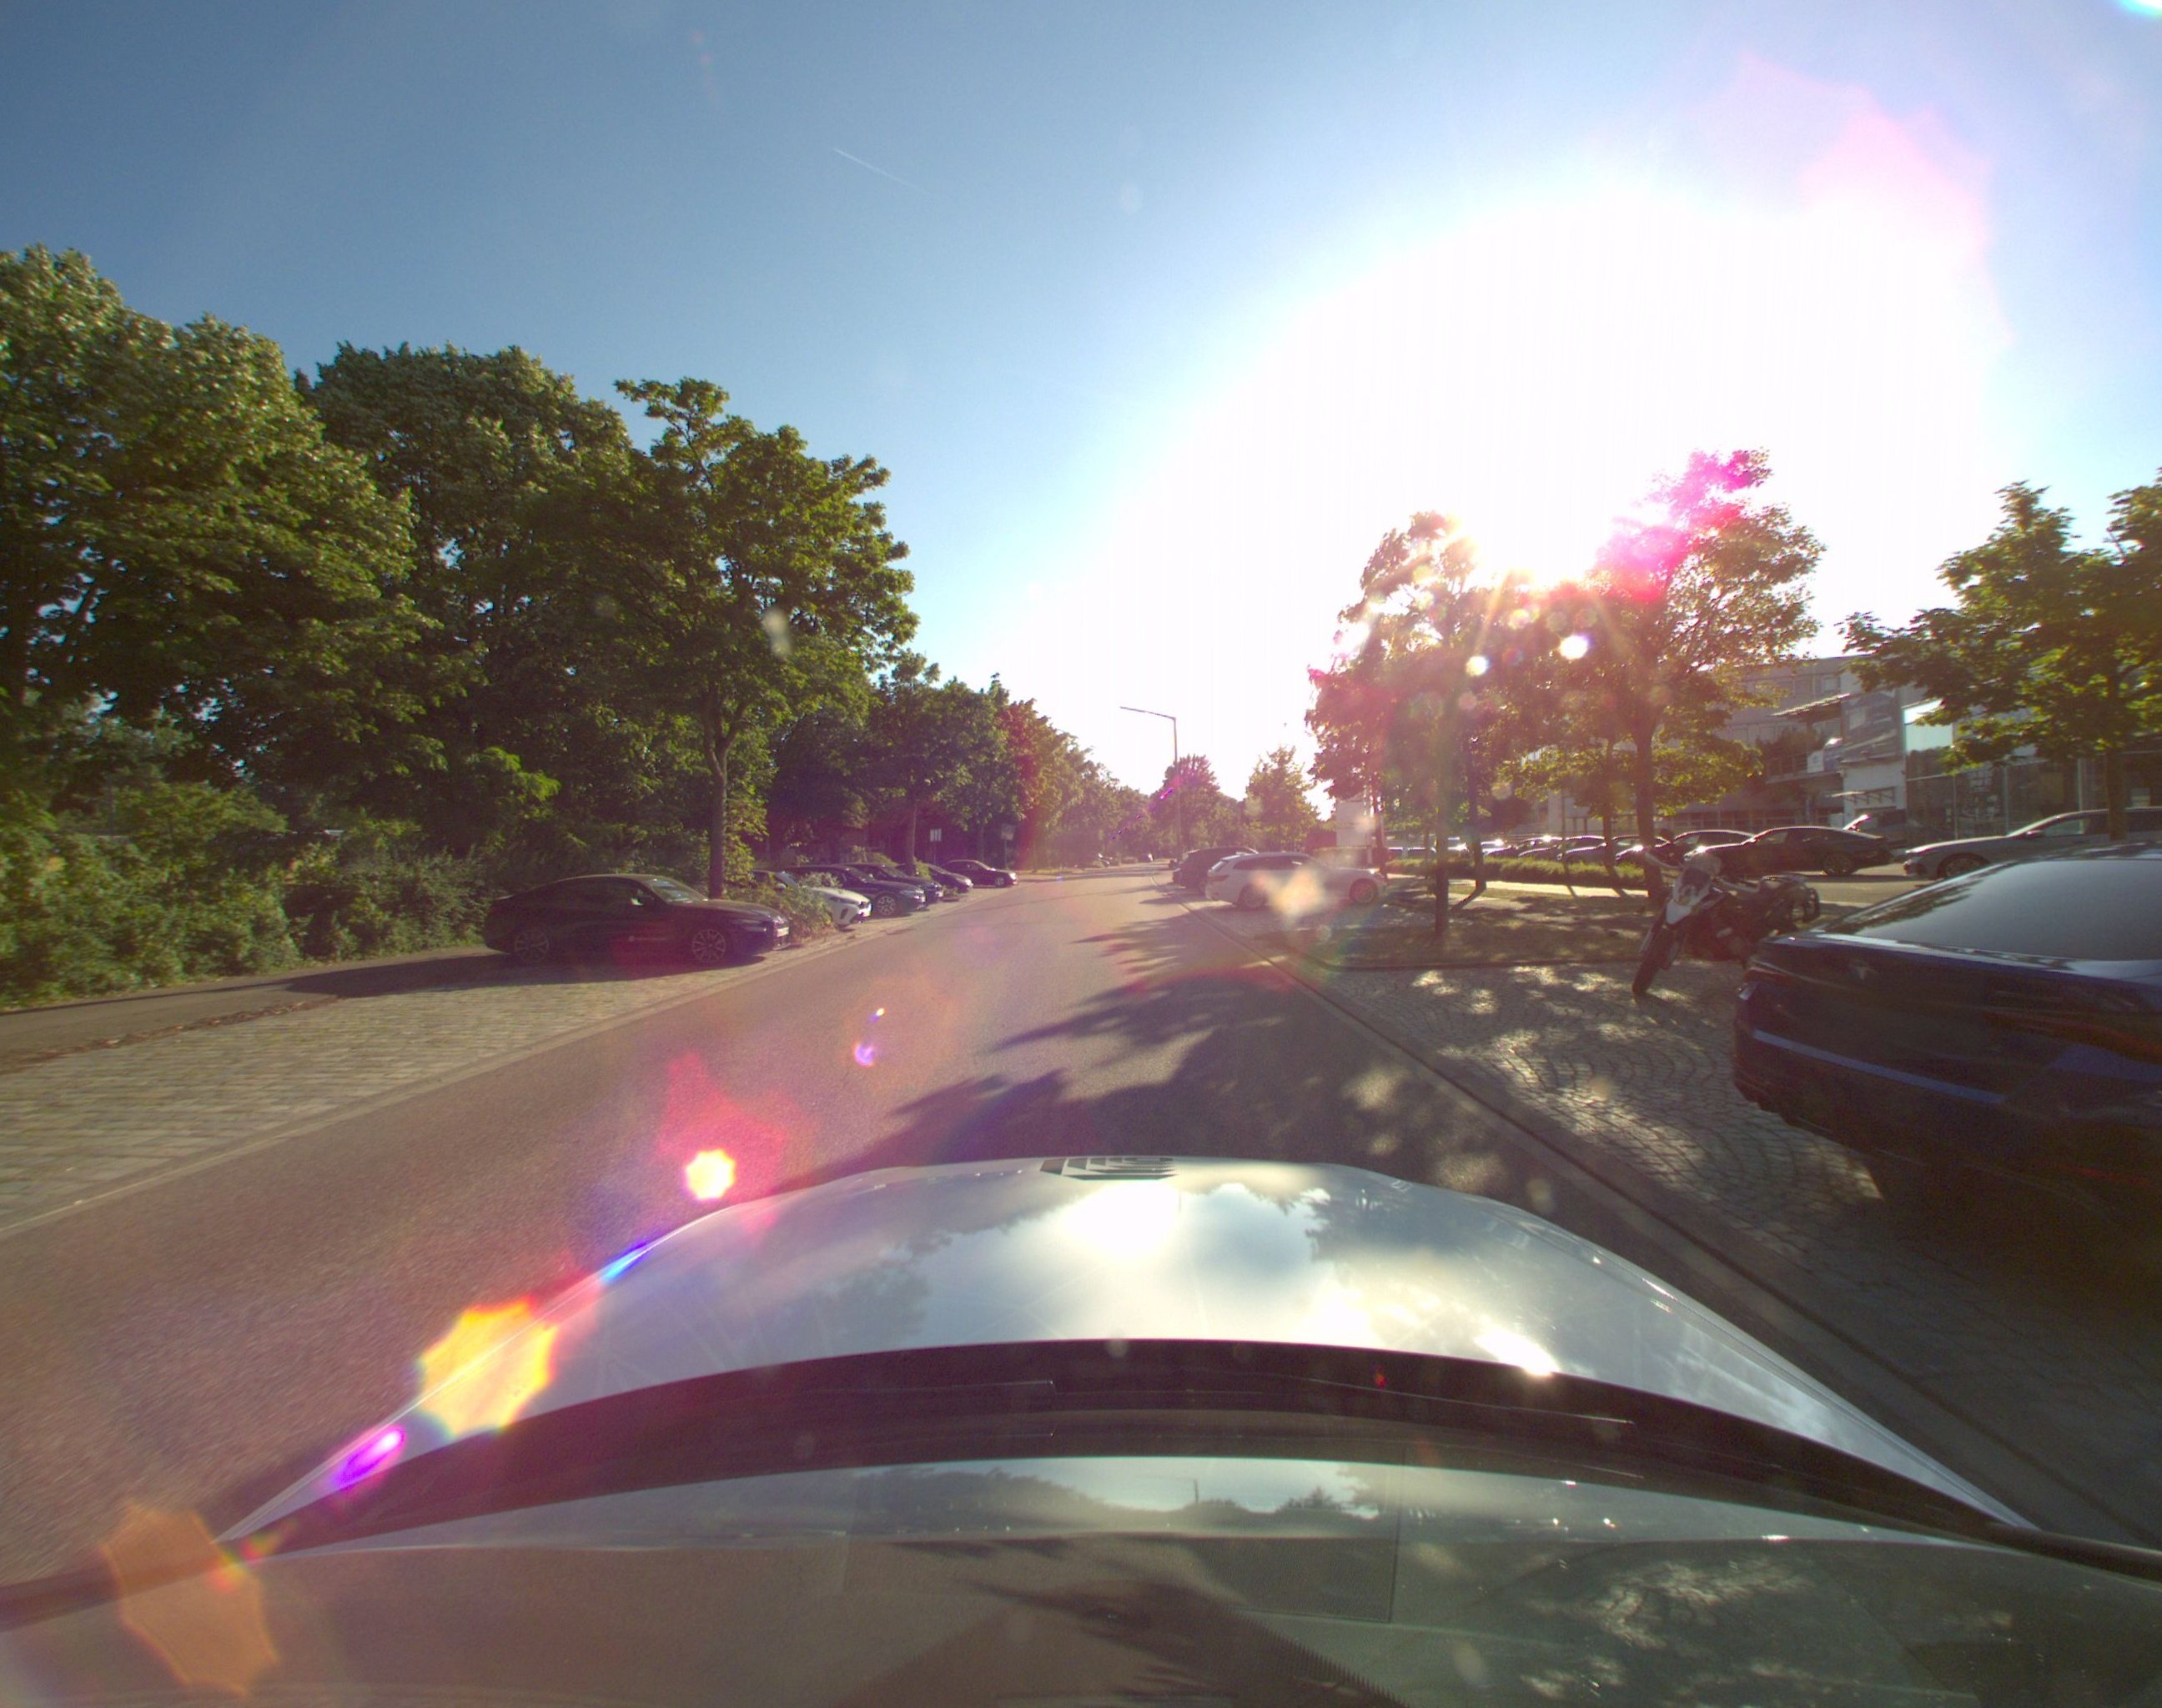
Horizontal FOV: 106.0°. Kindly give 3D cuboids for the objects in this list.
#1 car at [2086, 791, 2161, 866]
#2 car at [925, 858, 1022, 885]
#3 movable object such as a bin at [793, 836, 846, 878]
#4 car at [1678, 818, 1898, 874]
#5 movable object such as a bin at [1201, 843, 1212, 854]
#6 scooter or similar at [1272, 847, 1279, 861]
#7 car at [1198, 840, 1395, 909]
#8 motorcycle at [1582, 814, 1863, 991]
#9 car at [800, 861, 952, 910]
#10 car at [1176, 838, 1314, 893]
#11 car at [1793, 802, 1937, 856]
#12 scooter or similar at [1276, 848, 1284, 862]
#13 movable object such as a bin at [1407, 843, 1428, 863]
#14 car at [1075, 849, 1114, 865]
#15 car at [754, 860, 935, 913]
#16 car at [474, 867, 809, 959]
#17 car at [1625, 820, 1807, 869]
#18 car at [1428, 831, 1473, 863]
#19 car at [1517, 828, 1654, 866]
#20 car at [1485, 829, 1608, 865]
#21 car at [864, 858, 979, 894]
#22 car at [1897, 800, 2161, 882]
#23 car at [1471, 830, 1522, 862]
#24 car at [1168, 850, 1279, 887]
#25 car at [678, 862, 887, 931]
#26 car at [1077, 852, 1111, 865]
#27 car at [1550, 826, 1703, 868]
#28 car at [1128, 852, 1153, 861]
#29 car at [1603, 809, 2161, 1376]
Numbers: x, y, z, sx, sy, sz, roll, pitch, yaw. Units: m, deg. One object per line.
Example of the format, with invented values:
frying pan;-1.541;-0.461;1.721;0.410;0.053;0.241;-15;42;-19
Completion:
car;28.080;-0.695;20.303;4.781;1.774;1.990;-2;0;-15
car;-5.819;0.933;44.503;5.015;1.462;2.001;0;0;2
movable object such as a bin;-17.641;0.234;54.847;2.173;2.664;4.754;-2;0;-33
car;20.970;-0.209;24.313;2.011;1.463;4.731;-2;0;-42
movable object such as a bin;35.233;-1.494;228.722;2.819;3.068;4.943;0;0;12
scooter or similar;17.813;-0.036;74.633;0.517;1.272;1.390;-2;0;8
car;5.602;0.512;21.626;4.678;1.479;2.001;-3;0;1
motorcycle;6.019;0.406;7.685;2.126;1.466;0.945;-2;0;-14
car;-6.690;0.998;26.940;4.462;1.531;2.001;0;0;2
car;5.786;0.392;29.281;4.671;1.751;2.195;-2;0;6
car;32.066;-0.989;33.472;4.129;2.013;2.012;-2;0;43
scooter or similar;17.873;0.081;73.160;0.517;1.272;1.203;-2;0;7
movable object such as a bin;22.908;-0.062;55.422;1.110;1.268;1.040;-2;0;9
car;1.815;0.382;109.235;4.975;2.020;2.180;-2;0;9
car;-7.006;0.943;24.523;4.836;1.531;1.999;0;0;-2
car;-7.282;0.949;13.885;4.634;1.421;1.916;0;0;-1
car;21.785;-0.304;28.064;4.729;1.463;2.012;-2;0;43
car;23.037;-0.450;50.948;2.015;1.828;4.999;-2;0;18
car;21.954;-0.290;35.554;4.729;1.463;2.059;-2;0;43
car;22.306;-0.318;39.123;4.729;1.463;2.012;-2;0;43
car;-6.745;0.933;34.810;4.462;1.462;2.001;0;0;2
car;20.746;-0.249;17.004;2.011;1.571;5.128;-2;0;-42
car;25.530;-0.497;50.182;2.015;1.828;4.582;-2;0;18
car;6.105;0.603;35.203;4.464;1.404;2.034;-2;0;1
car;-7.087;0.984;19.676;4.269;1.531;2.002;0;0;2
car;1.714;0.634;105.413;4.187;1.530;1.710;-2;0;9
car;21.515;-0.243;32.229;4.729;1.463;2.012;-2;0;43
car;10.645;0.413;145.663;4.328;1.479;2.007;0;0;13
car;4.987;0.531;3.140;4.607;1.456;2.001;-3;0;1
